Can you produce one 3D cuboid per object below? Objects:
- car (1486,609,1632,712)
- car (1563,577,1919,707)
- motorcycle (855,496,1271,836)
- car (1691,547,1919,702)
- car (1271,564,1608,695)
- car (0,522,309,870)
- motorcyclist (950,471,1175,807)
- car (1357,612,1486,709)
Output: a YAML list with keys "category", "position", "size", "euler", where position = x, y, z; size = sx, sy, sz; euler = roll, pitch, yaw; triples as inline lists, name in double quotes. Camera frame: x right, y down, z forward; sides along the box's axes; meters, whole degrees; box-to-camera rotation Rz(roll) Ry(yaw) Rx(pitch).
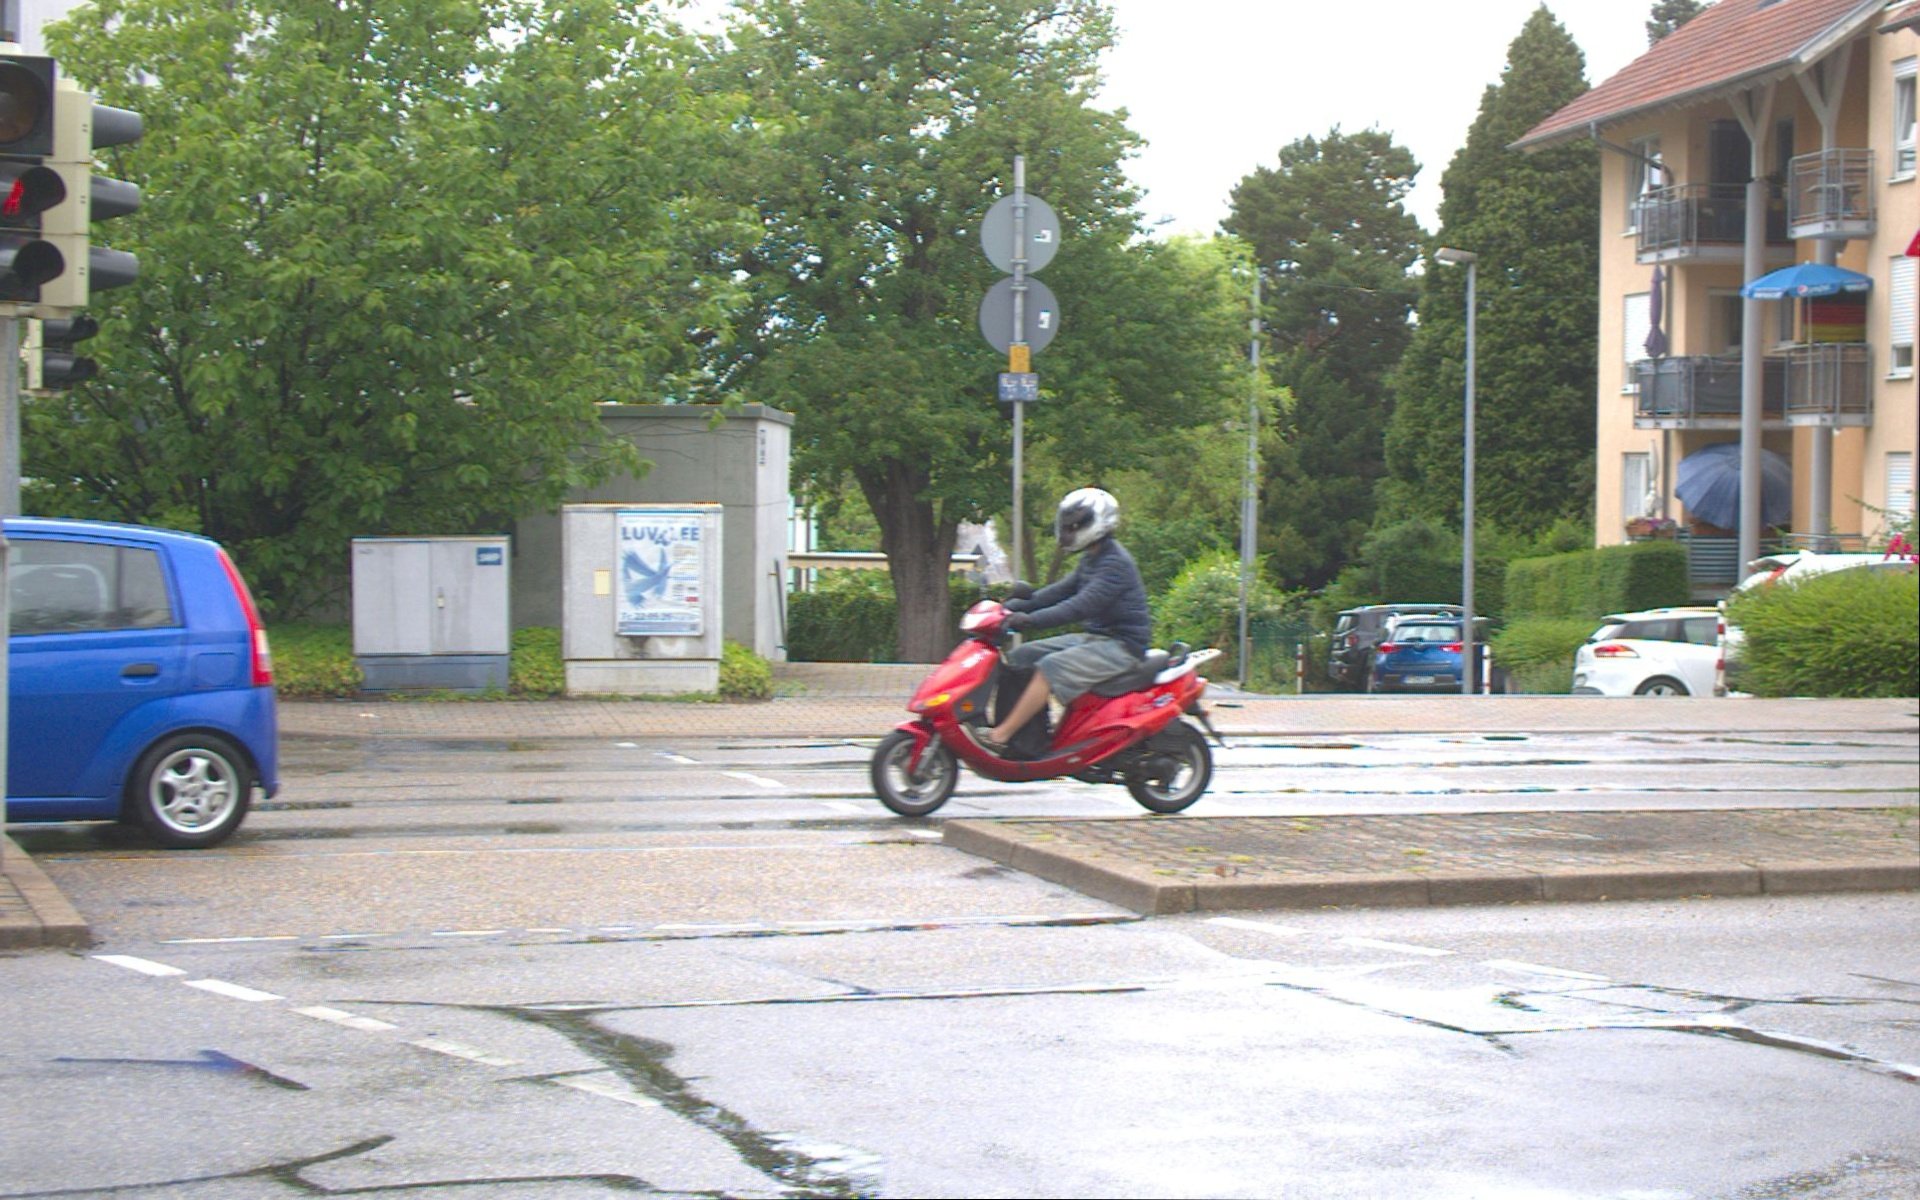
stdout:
- category: "car"
  position: [9.182, 0.907, 52.961]
  size: [1.761, 1.403, 3.862]
  euler: [0, 1, 3]
- category: "car"
  position: [9.191, 0.480, 40.406]
  size: [3.849, 1.403, 1.767]
  euler: [-1, 2, -2]
- category: "motorcycle"
  position: [0.506, 0.301, 17.126]
  size: [1.915, 1.619, 0.798]
  euler: [-1, 2, -13]
- category: "car"
  position: [9.411, 0.245, 33.401]
  size: [4.189, 1.434, 1.822]
  euler: [1, 0, -1]
- category: "car"
  position: [9.483, 0.564, 68.374]
  size: [5.999, 2.193, 2.853]
  euler: [3, 2, -6]
- category: "car"
  position: [-4.713, 0.394, 15.072]
  size: [3.428, 1.451, 1.525]
  euler: [-1, 2, -22]
- category: "motorcyclist"
  position: [0.504, 0.177, 17.123]
  size: [0.936, 1.619, 0.773]
  euler: [-1, 2, -14]
- category: "car"
  position: [7.444, 0.951, 55.779]
  size: [1.761, 1.403, 3.862]
  euler: [0, 1, 3]
